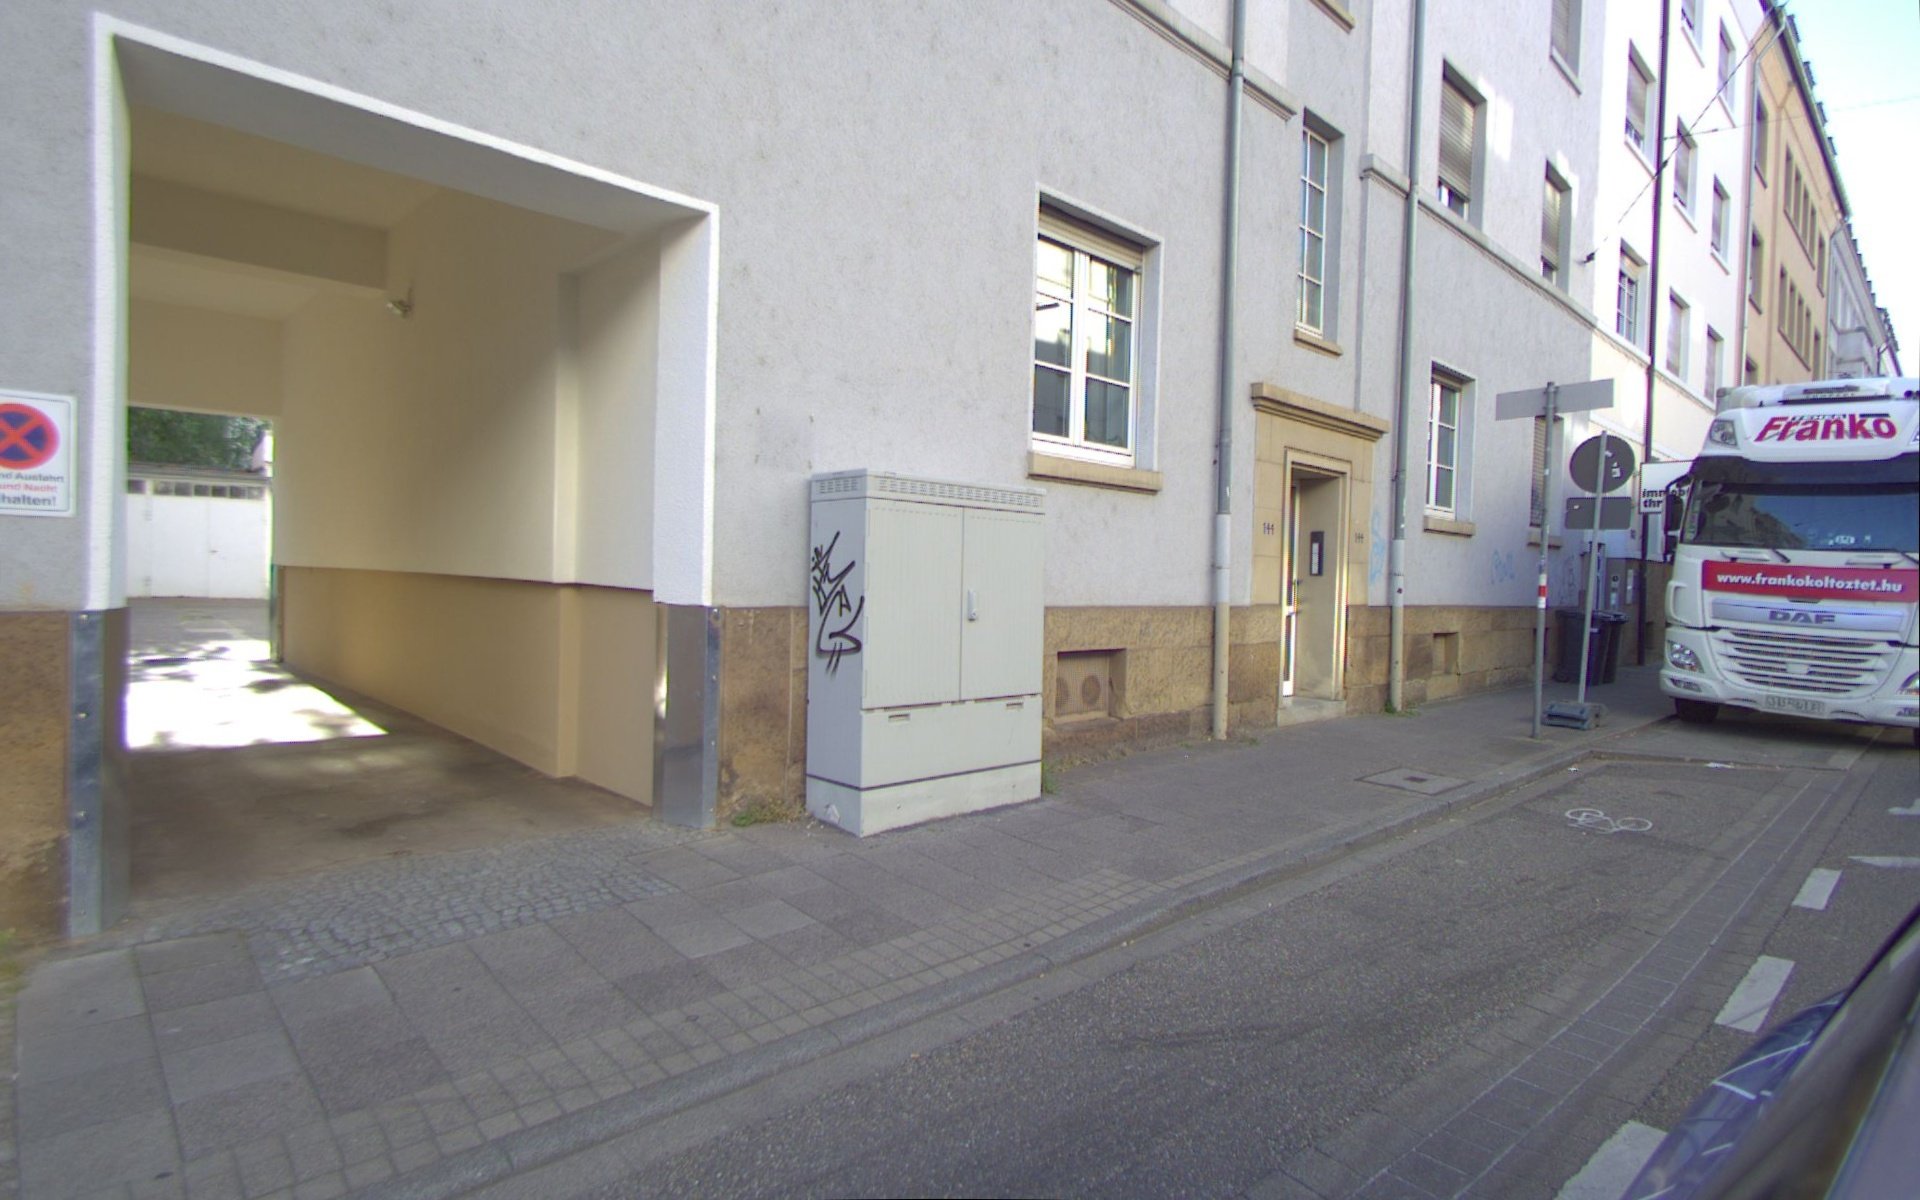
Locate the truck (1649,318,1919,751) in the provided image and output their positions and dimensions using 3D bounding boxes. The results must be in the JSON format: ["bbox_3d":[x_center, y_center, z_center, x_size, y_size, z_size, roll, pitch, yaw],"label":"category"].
[{"bbox_3d":[12.584,-0.600,13.856,11.511,4.012,2.894,0,0,-44],"label":"truck"}]

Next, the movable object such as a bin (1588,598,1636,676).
[{"bbox_3d":[9.623,0.532,14.942,0.511,1.106,0.488,0,0,45],"label":"movable object such as a bin"}]

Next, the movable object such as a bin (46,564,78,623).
[{"bbox_3d":[-14.337,-0.112,16.161,0.366,0.919,0.420,0,3,-44],"label":"movable object such as a bin"}]

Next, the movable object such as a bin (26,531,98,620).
[{"bbox_3d":[-14.842,-0.408,16.727,0.874,1.409,0.758,0,4,-44],"label":"movable object such as a bin"}]

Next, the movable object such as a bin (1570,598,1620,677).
[{"bbox_3d":[9.121,0.527,14.539,0.511,1.106,0.488,0,0,45],"label":"movable object such as a bin"}]
